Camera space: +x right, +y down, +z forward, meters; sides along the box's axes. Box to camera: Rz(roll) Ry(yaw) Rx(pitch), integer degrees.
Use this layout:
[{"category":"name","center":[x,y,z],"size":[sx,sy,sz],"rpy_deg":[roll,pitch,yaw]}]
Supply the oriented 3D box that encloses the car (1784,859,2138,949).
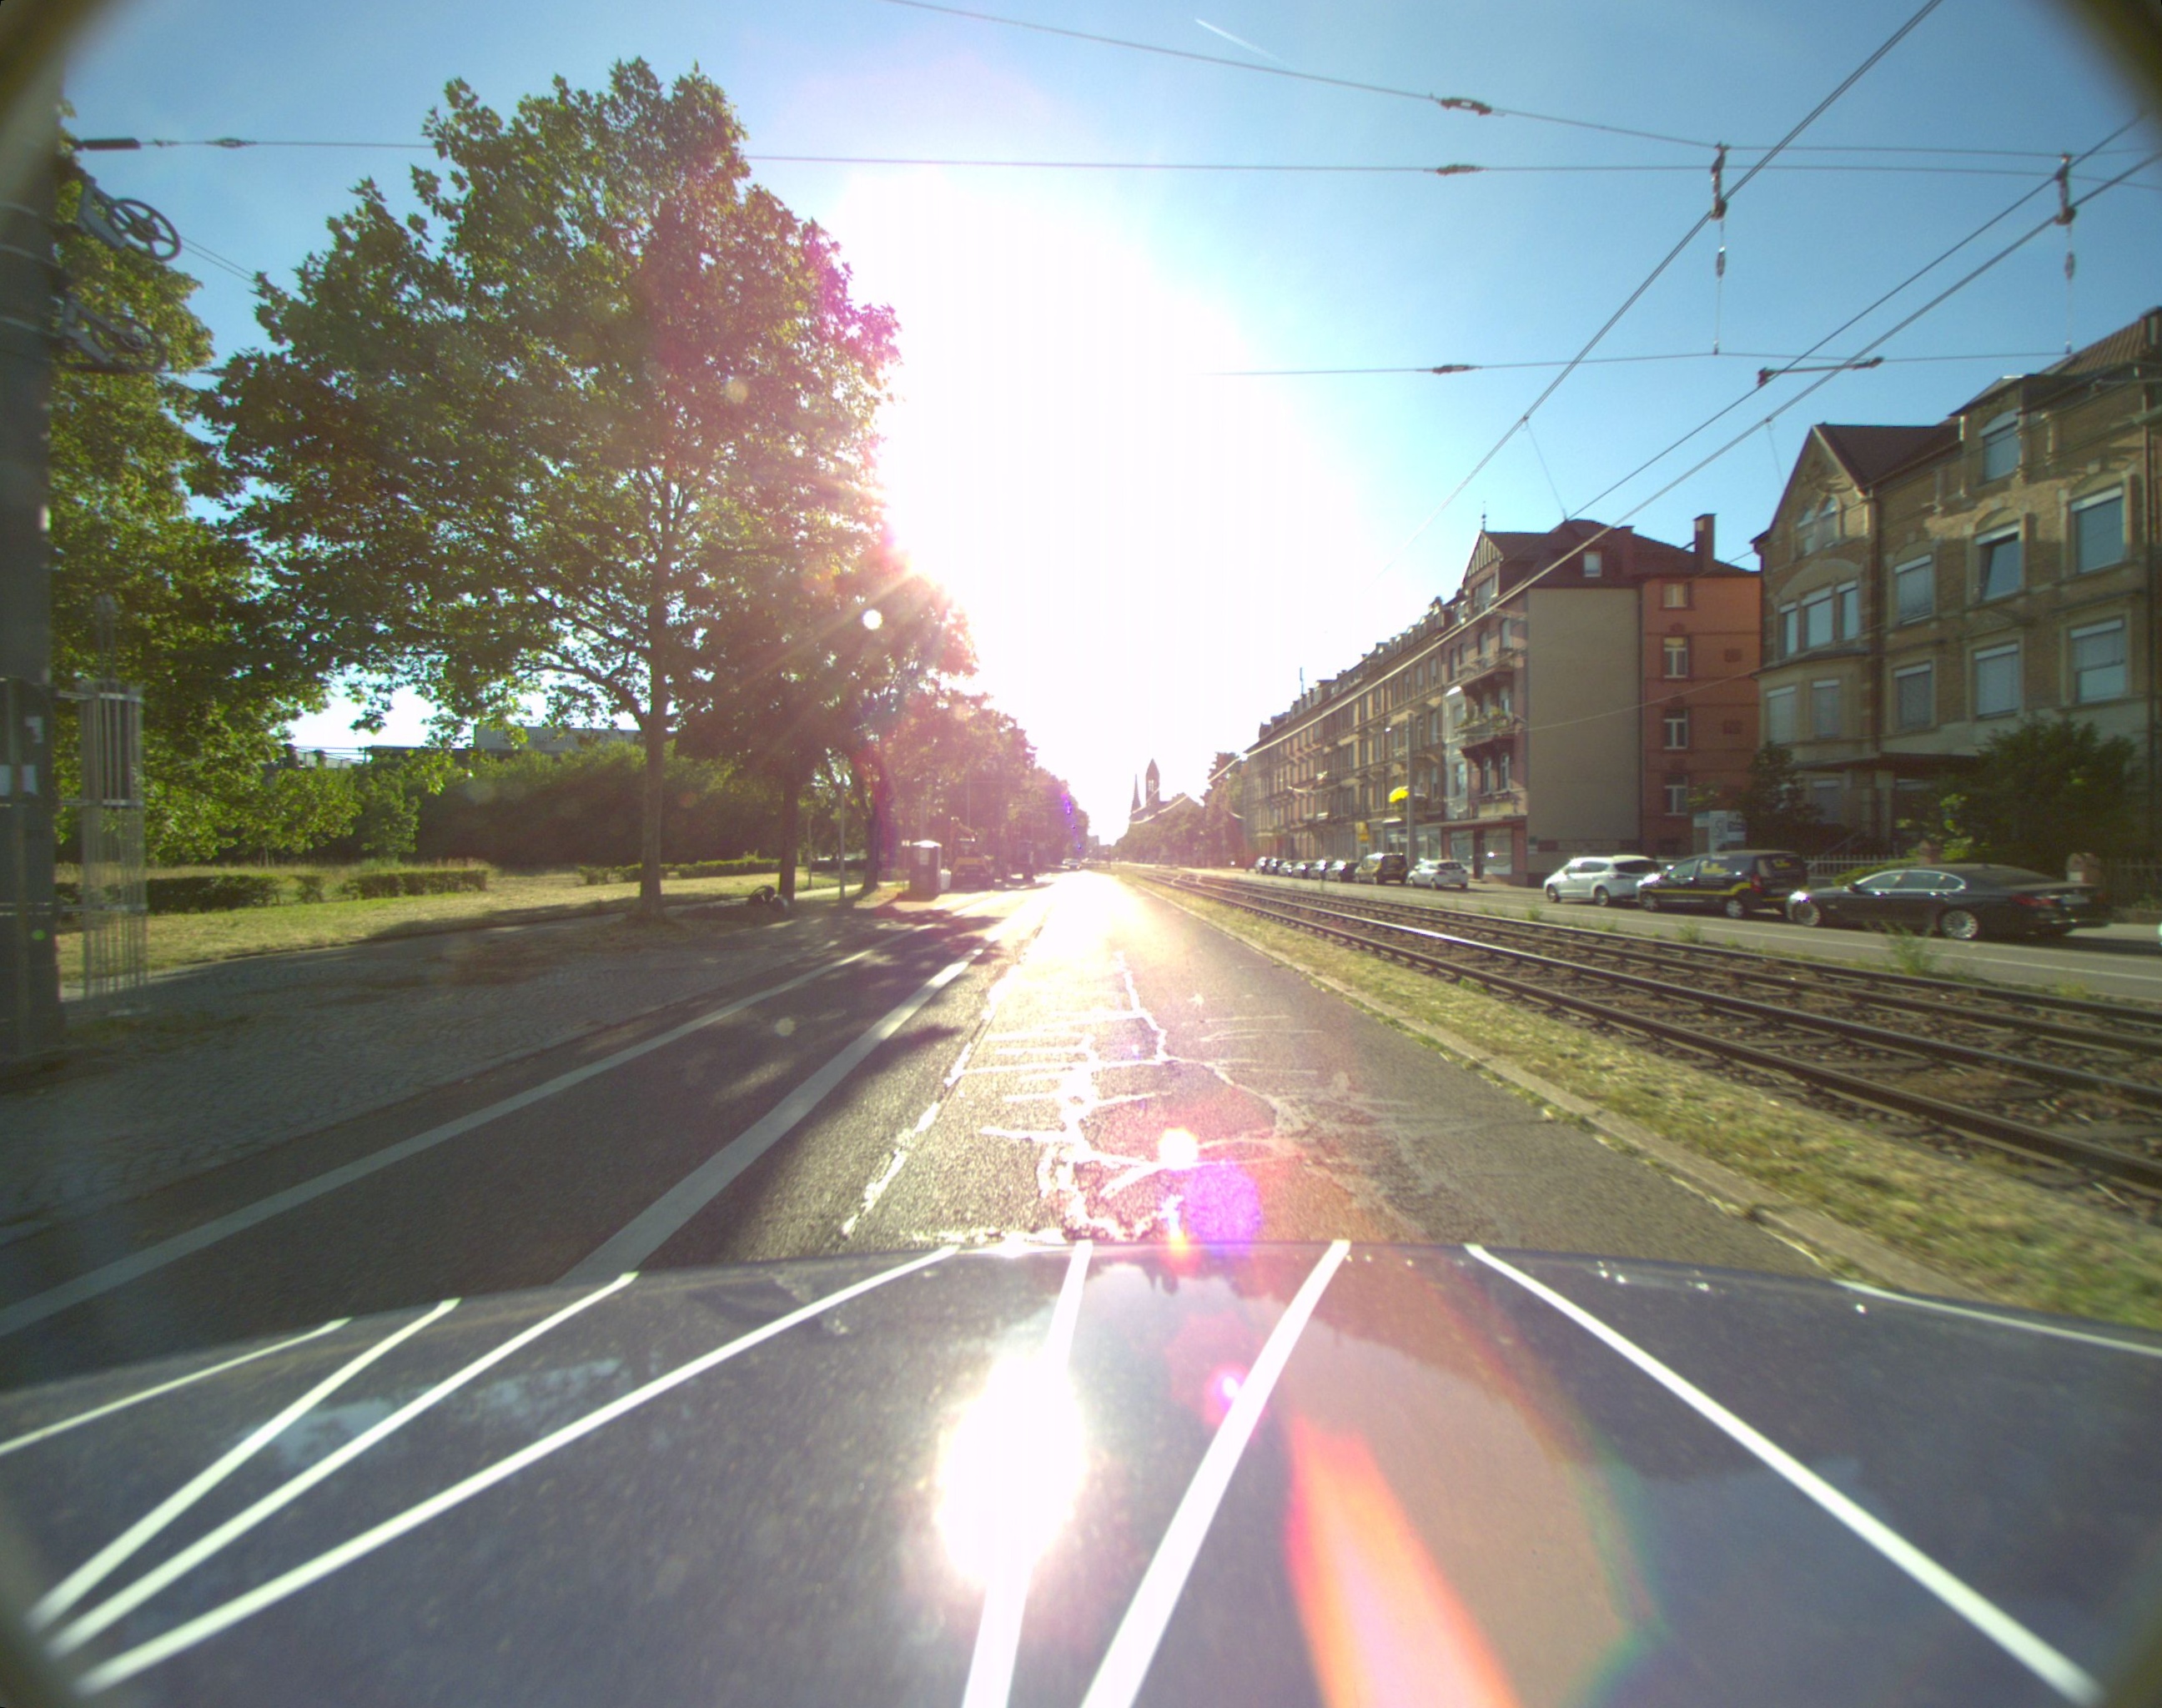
[{"category":"car","center":[18.245,0.924,16.242],"size":[1.925,1.551,4.842],"rpy_deg":[-2,0,0]}]

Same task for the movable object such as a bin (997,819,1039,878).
[{"category":"movable object such as a bin","center":[-5.268,-0.462,64.681],"size":[2.922,4.583,7.597],"rpy_deg":[2,0,-1]}]

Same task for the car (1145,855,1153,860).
[{"category":"car","center":[19.841,1.073,221.726],"size":[1.799,1.501,3.999],"rpy_deg":[0,0,-1]}]

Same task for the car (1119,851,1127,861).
[{"category":"car","center":[11.620,0.577,210.609],"size":[1.799,2.766,4.000],"rpy_deg":[0,0,0]}]

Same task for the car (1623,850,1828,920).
[{"category":"car","center":[18.387,0.812,22.016],"size":[1.926,1.770,4.497],"rpy_deg":[-2,0,-4]}]

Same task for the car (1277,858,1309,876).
[{"category":"car","center":[18.792,1.145,67.557],"size":[1.664,1.437,4.196],"rpy_deg":[-2,0,1]}]

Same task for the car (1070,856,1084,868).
[{"category":"car","center":[-0.540,1.042,104.024],"size":[1.799,1.501,4.000],"rpy_deg":[-2,0,0]}]

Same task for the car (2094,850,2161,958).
[{"category":"car","center":[18.045,0.783,10.431],"size":[1.925,1.684,4.843],"rpy_deg":[-2,0,3]}]

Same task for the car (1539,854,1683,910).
[{"category":"car","center":[18.529,0.899,26.887],"size":[1.925,1.674,4.626],"rpy_deg":[-1,1,1]}]

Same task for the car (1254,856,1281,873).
[{"category":"car","center":[18.939,1.070,77.426],"size":[1.798,1.633,4.631],"rpy_deg":[-2,0,3]}]

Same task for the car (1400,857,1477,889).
[{"category":"car","center":[18.832,0.956,40.231],"size":[1.925,1.529,4.627],"rpy_deg":[-1,0,1]}]

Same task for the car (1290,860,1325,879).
[{"category":"car","center":[18.769,1.225,63.140],"size":[1.664,1.437,3.981],"rpy_deg":[-2,0,1]}]

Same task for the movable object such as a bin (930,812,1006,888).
[{"category":"movable object such as a bin","center":[-6.461,-0.235,44.771],"size":[3.347,3.953,7.597],"rpy_deg":[2,0,-1]}]

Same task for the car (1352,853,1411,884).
[{"category":"car","center":[18.477,0.856,46.894],"size":[1.664,1.797,4.728],"rpy_deg":[-2,0,-1]}]

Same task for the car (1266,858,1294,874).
[{"category":"car","center":[18.988,1.156,72.620],"size":[1.664,1.437,3.765],"rpy_deg":[-2,0,1]}]

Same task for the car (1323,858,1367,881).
[{"category":"car","center":[18.143,1.062,52.404],"size":[1.664,1.437,3.981],"rpy_deg":[-2,0,1]}]

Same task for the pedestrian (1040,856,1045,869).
[{"category":"pedestrian","center":[-5.148,1.151,102.140],"size":[0.532,1.653,0.486],"rpy_deg":[1,0,-22]}]

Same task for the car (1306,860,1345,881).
[{"category":"car","center":[18.497,1.195,57.724],"size":[1.664,1.437,3.981],"rpy_deg":[-2,0,1]}]

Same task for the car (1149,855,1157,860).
[{"category":"car","center":[19.918,0.913,210.622],"size":[1.799,1.501,3.999],"rpy_deg":[0,0,-1]}]

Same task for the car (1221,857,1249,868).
[{"category":"car","center":[24.136,1.326,119.090],"size":[3.991,1.502,1.802],"rpy_deg":[-2,1,22]}]
